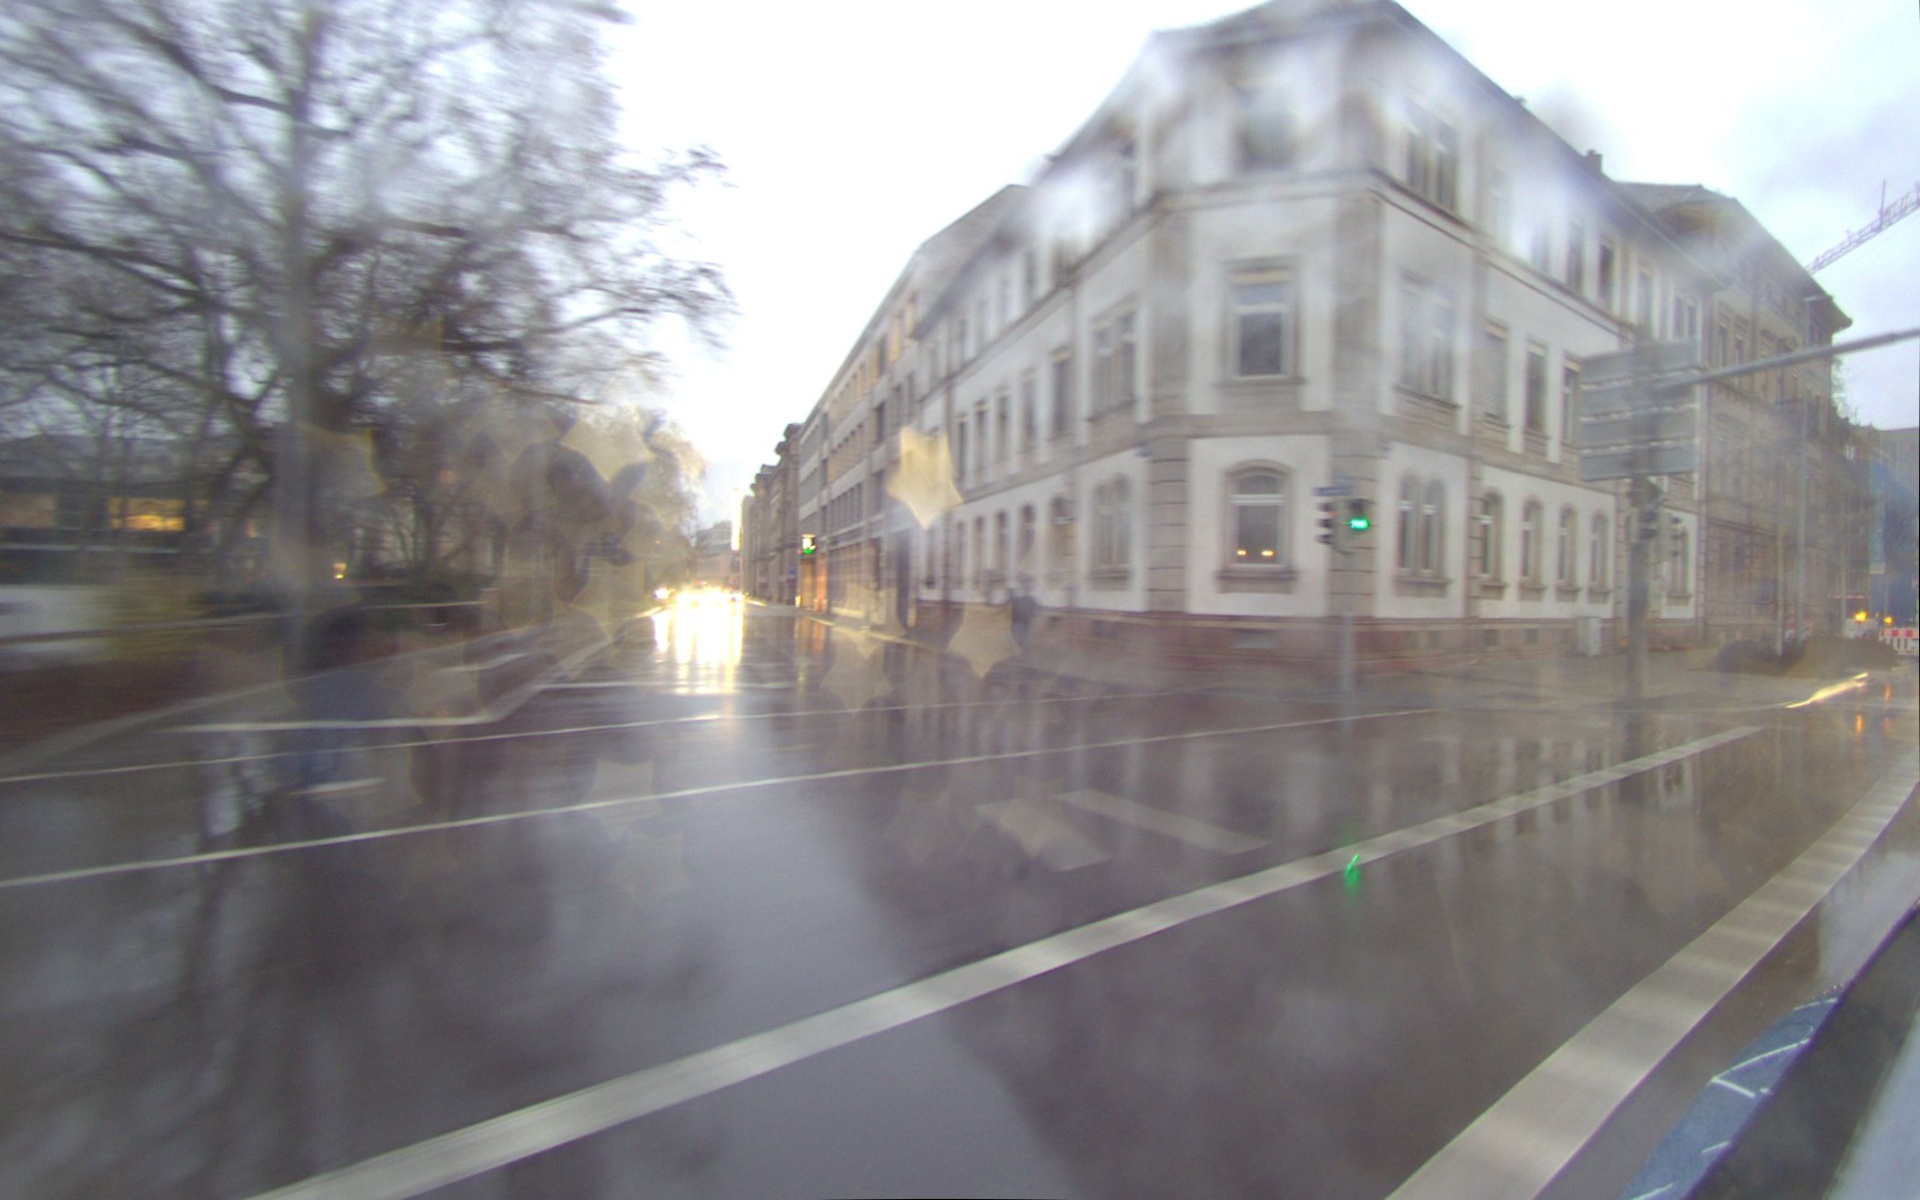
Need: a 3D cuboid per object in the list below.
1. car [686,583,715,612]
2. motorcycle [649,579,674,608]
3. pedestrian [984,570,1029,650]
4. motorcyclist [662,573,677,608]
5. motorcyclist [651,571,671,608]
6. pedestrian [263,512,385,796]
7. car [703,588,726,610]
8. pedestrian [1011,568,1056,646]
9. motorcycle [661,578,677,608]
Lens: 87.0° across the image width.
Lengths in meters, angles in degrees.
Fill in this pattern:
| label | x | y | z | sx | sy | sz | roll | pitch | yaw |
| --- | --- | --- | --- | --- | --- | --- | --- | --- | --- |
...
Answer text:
| label | x | y | z | sx | sy | sz | roll | pitch | yaw |
| --- | --- | --- | --- | --- | --- | --- | --- | --- | --- |
| car | -18.995 | -0.151 | 74.165 | 1.958 | 2.039 | 4.007 | 0 | 0 | -13 |
| motorcycle | -16.881 | -0.353 | 57.239 | 0.929 | 1.579 | 3.530 | 0 | 0 | -9 |
| pedestrian | 1.174 | 0.251 | 25.801 | 0.849 | 2.006 | 0.980 | 0 | -1 | -18 |
| motorcyclist | -18.689 | -0.613 | 65.040 | 0.928 | 2.195 | 1.198 | 0 | -1 | -17 |
| motorcyclist | -16.843 | -0.602 | 57.032 | 0.929 | 2.080 | 1.031 | 0 | -1 | -9 |
| pedestrian | -4.524 | 0.359 | 7.247 | 0.661 | 1.903 | 0.716 | 0 | -1 | -27 |
| car | -22.556 | -0.083 | 92.951 | 1.958 | 2.039 | 4.007 | 0 | 0 | -12 |
| pedestrian | 1.917 | 0.175 | 26.501 | 0.849 | 2.006 | 0.980 | 0 | -1 | -18 |
| motorcycle | -18.700 | -0.447 | 65.066 | 0.928 | 1.868 | 3.532 | 0 | 0 | -17 |
